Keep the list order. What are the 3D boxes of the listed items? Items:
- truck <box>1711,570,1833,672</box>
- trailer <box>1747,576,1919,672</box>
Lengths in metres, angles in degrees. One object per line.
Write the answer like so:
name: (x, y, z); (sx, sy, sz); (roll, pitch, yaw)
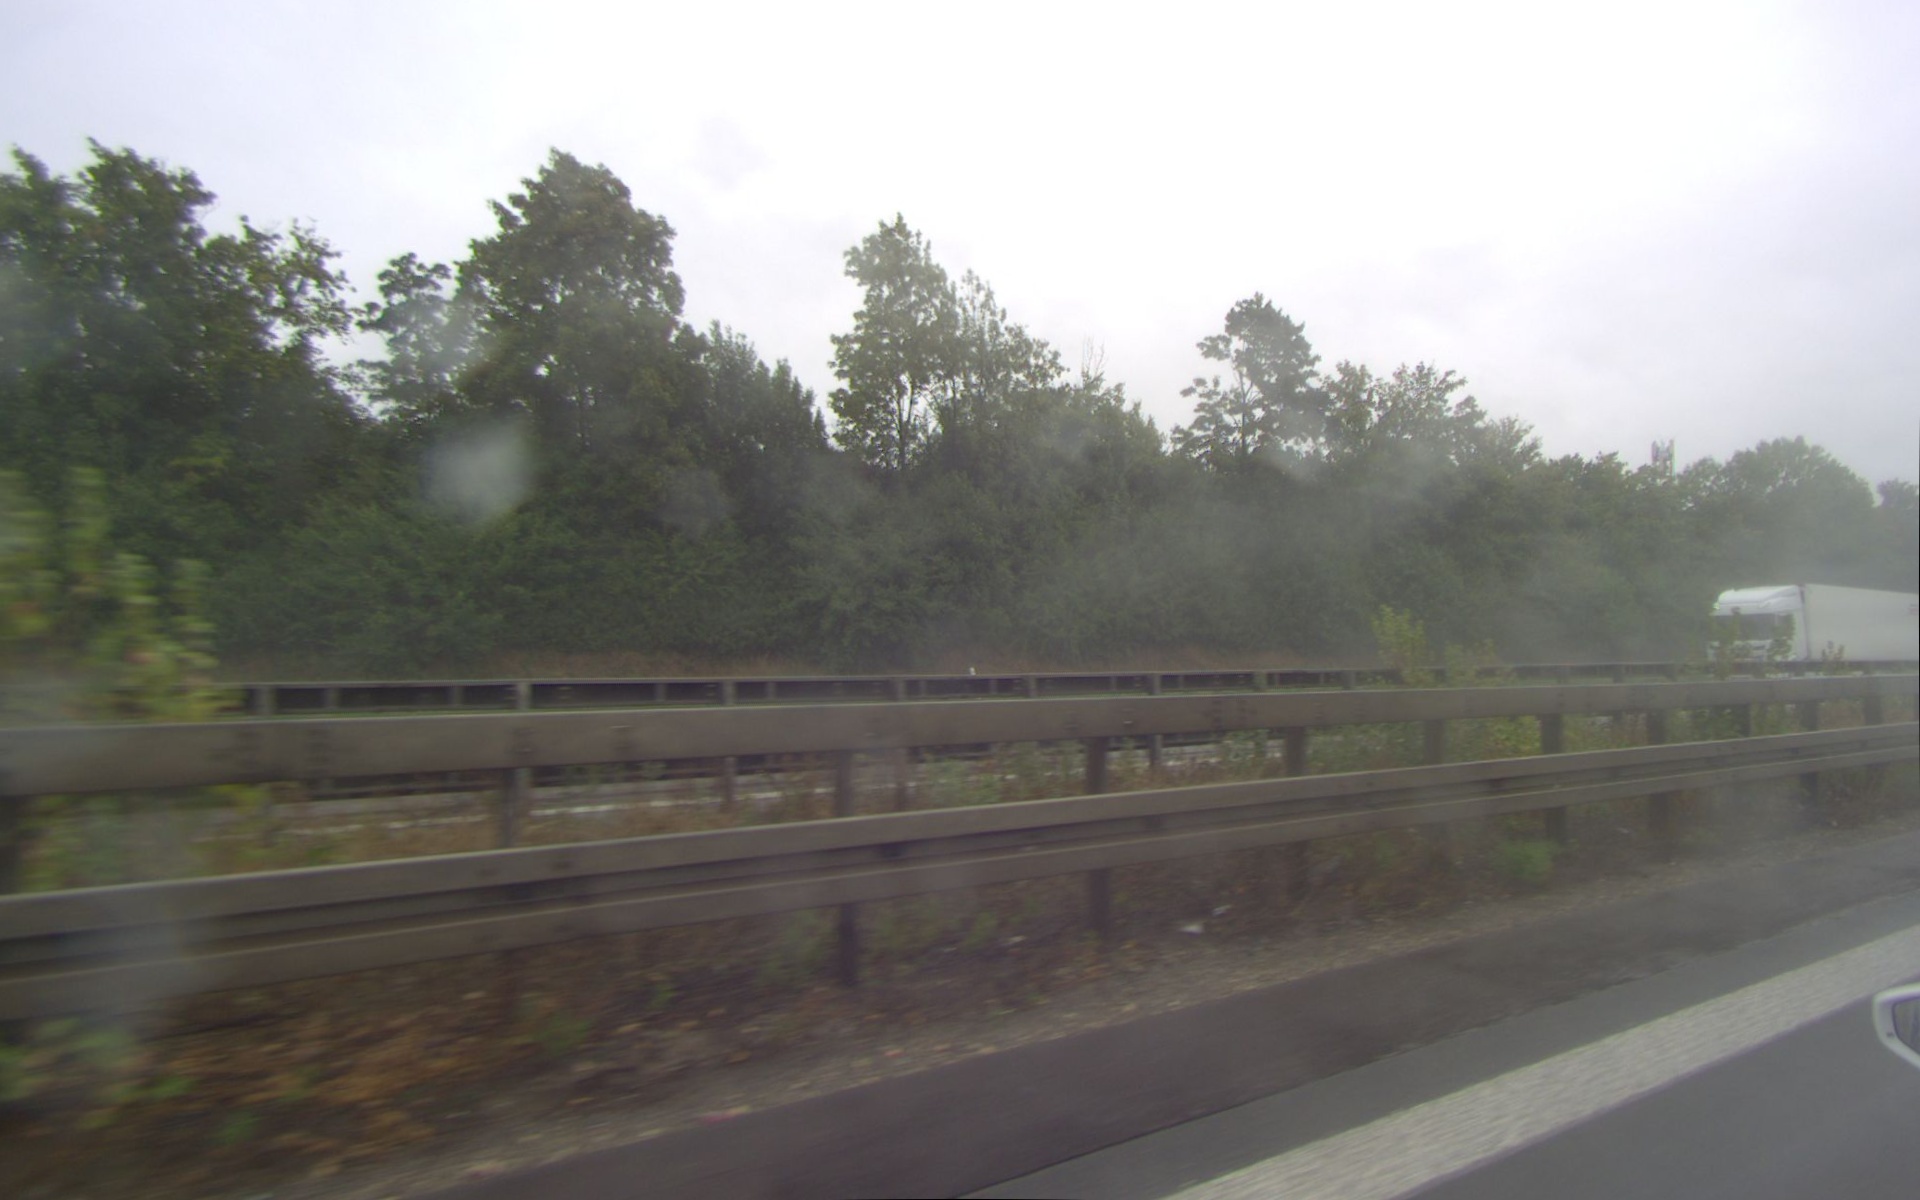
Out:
truck: (32.677, 0.874, 40.381); (5.163, 3.854, 2.033); (3, -1, -30)
trailer: (39.710, 1.169, 44.471); (15.342, 3.822, 1.992); (2, 0, -30)
